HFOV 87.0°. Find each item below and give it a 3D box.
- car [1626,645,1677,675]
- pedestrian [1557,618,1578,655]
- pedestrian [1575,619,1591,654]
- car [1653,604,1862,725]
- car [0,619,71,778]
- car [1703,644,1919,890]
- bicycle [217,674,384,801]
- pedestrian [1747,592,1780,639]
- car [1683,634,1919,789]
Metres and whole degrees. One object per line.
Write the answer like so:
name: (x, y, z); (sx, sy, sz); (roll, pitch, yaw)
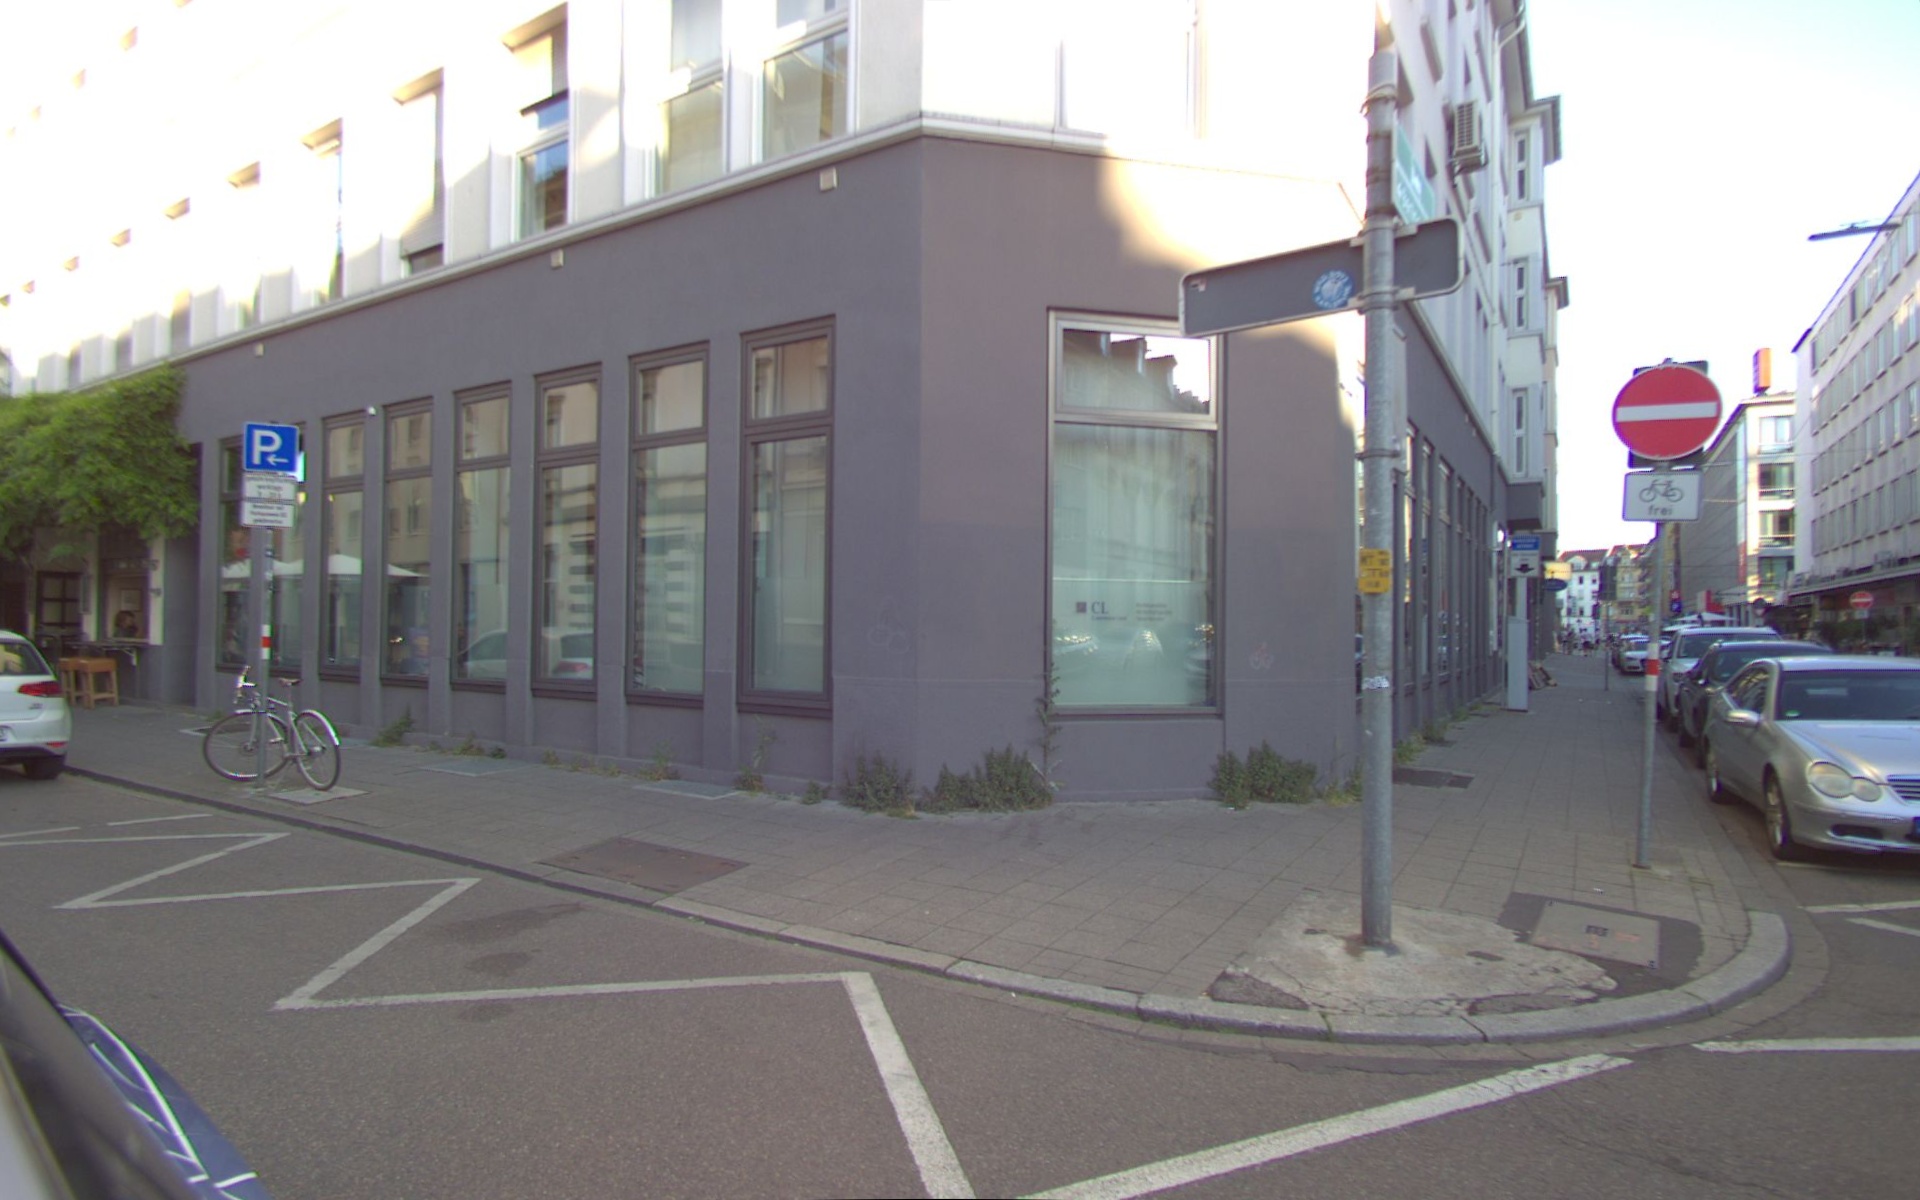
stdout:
car: (26.904, 2.311, 39.439); (1.510, 1.067, 3.428); (-1, -2, 33)
pedestrian: (36.713, 2.179, 61.164); (1.027, 2.191, 0.878); (0, -2, 26)
pedestrian: (37.821, 2.183, 61.438); (0.723, 2.107, 0.798); (0, -2, 26)
car: (13.311, 0.993, 17.225); (2.330, 1.757, 4.437); (-1, -2, 33)
car: (-10.438, 0.881, 9.830); (3.869, 1.424, 1.645); (0, -2, 32)
car: (7.168, 1.083, 7.861); (1.750, 1.412, 4.441); (-2, -2, 30)
bicycle: (-5.629, 1.124, 8.611); (1.639, 0.912, 0.591); (-1, -2, 34)
pedestrian: (45.181, 0.879, 56.923); (1.244, 2.634, 1.451); (-1, -1, 32)
car: (10.257, 1.211, 12.424); (2.009, 1.536, 4.071); (-1, -2, 33)
